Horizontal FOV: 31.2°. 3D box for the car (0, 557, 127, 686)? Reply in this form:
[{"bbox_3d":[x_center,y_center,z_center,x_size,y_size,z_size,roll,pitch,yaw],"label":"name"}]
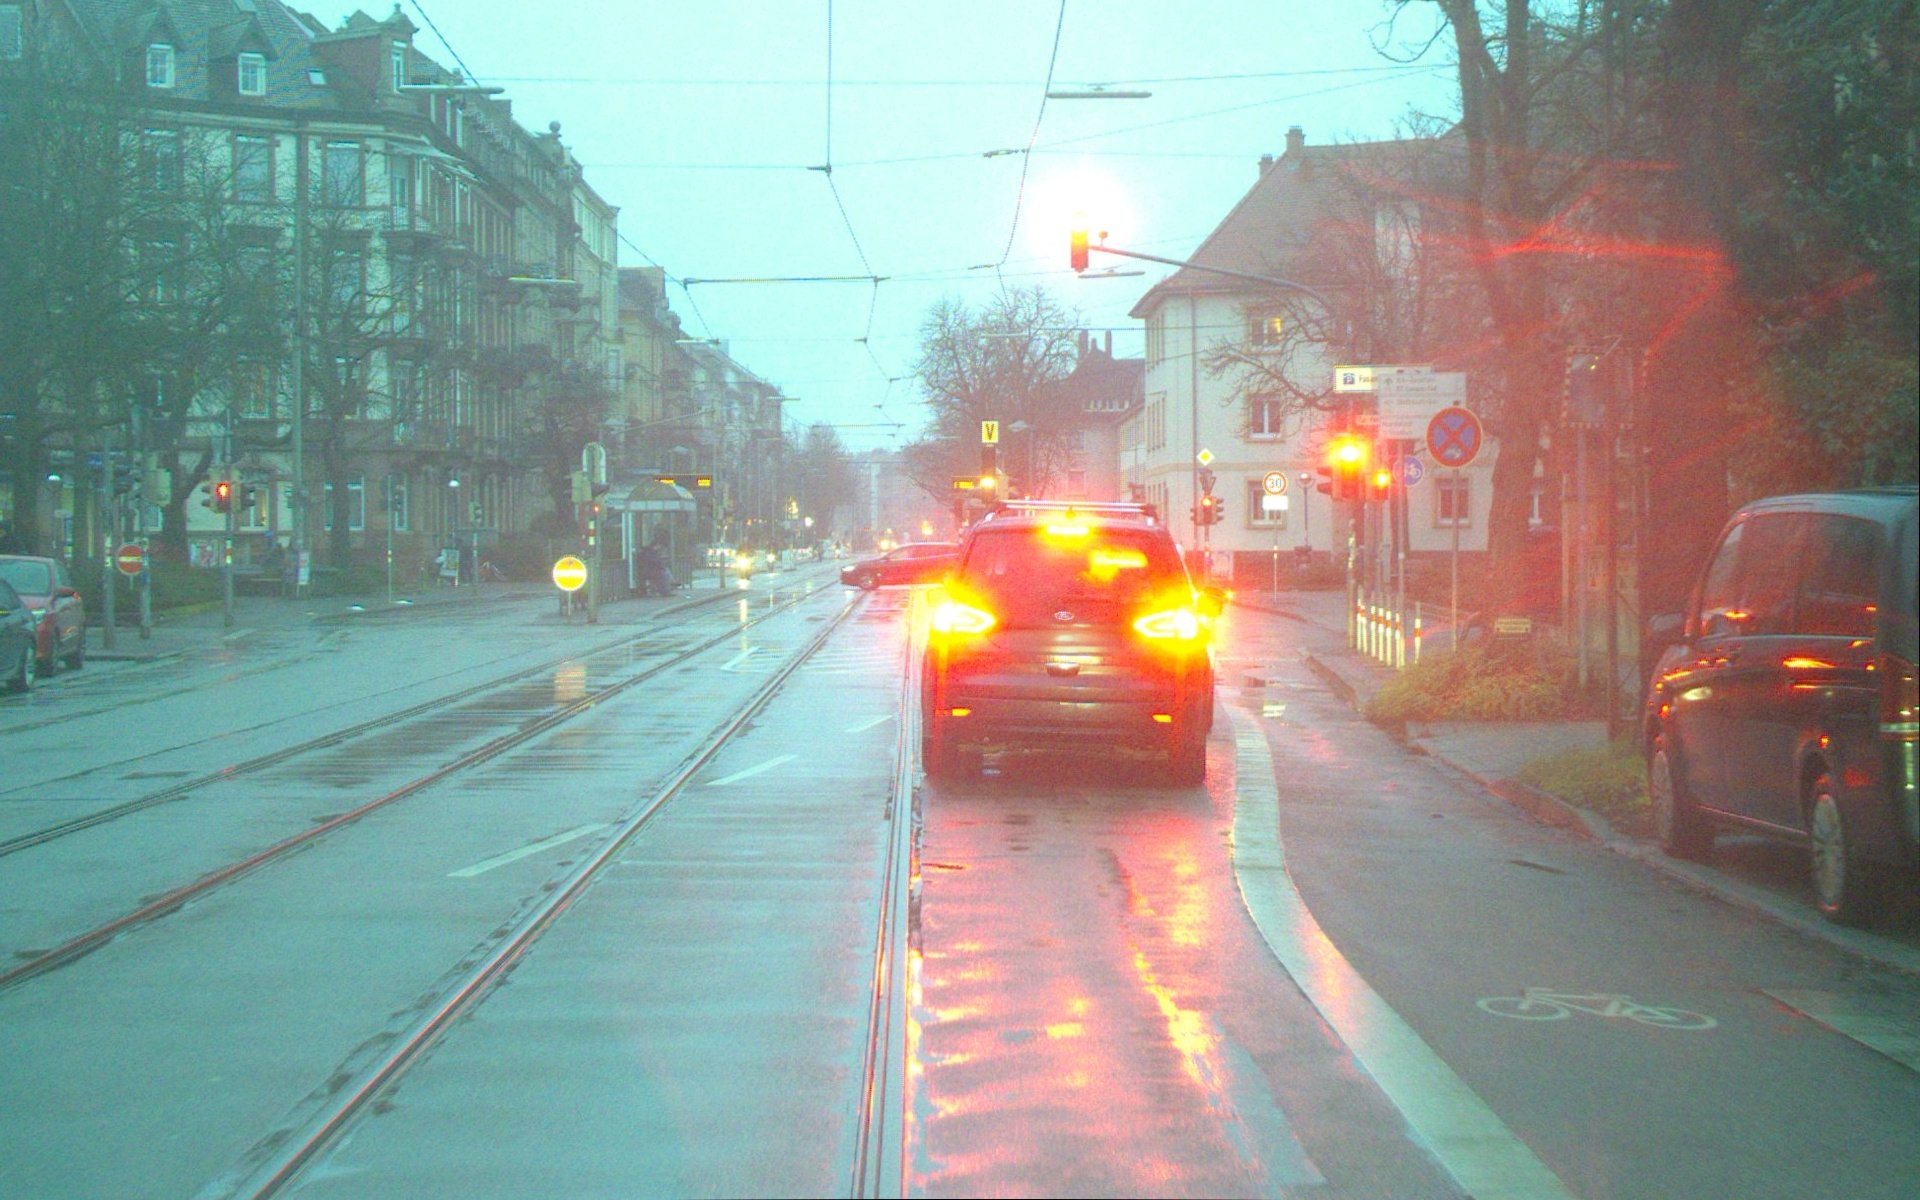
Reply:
[{"bbox_3d":[-12.108,0.254,44.844,1.629,1.545,3.500,-1,2,-1],"label":"car"}]

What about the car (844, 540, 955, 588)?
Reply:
[{"bbox_3d":[-1.947,-1.162,110.719,3.488,1.453,1.635,-1,2,2],"label":"car"}]

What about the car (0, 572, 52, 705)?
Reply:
[{"bbox_3d":[-11.752,0.464,39.062,1.833,1.442,4.001,-1,2,-1],"label":"car"}]

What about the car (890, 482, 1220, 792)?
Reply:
[{"bbox_3d":[0.540,0.221,23.652,1.993,1.890,4.759,1,0,-2],"label":"car"}]

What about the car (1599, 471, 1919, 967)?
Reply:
[{"bbox_3d":[4.442,0.361,15.655,1.993,1.894,5.028,-1,2,-1],"label":"car"}]

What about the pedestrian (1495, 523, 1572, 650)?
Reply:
[{"bbox_3d":[9.239,-0.230,55.453,1.022,2.006,0.919,-1,2,-4],"label":"pedestrian"}]
